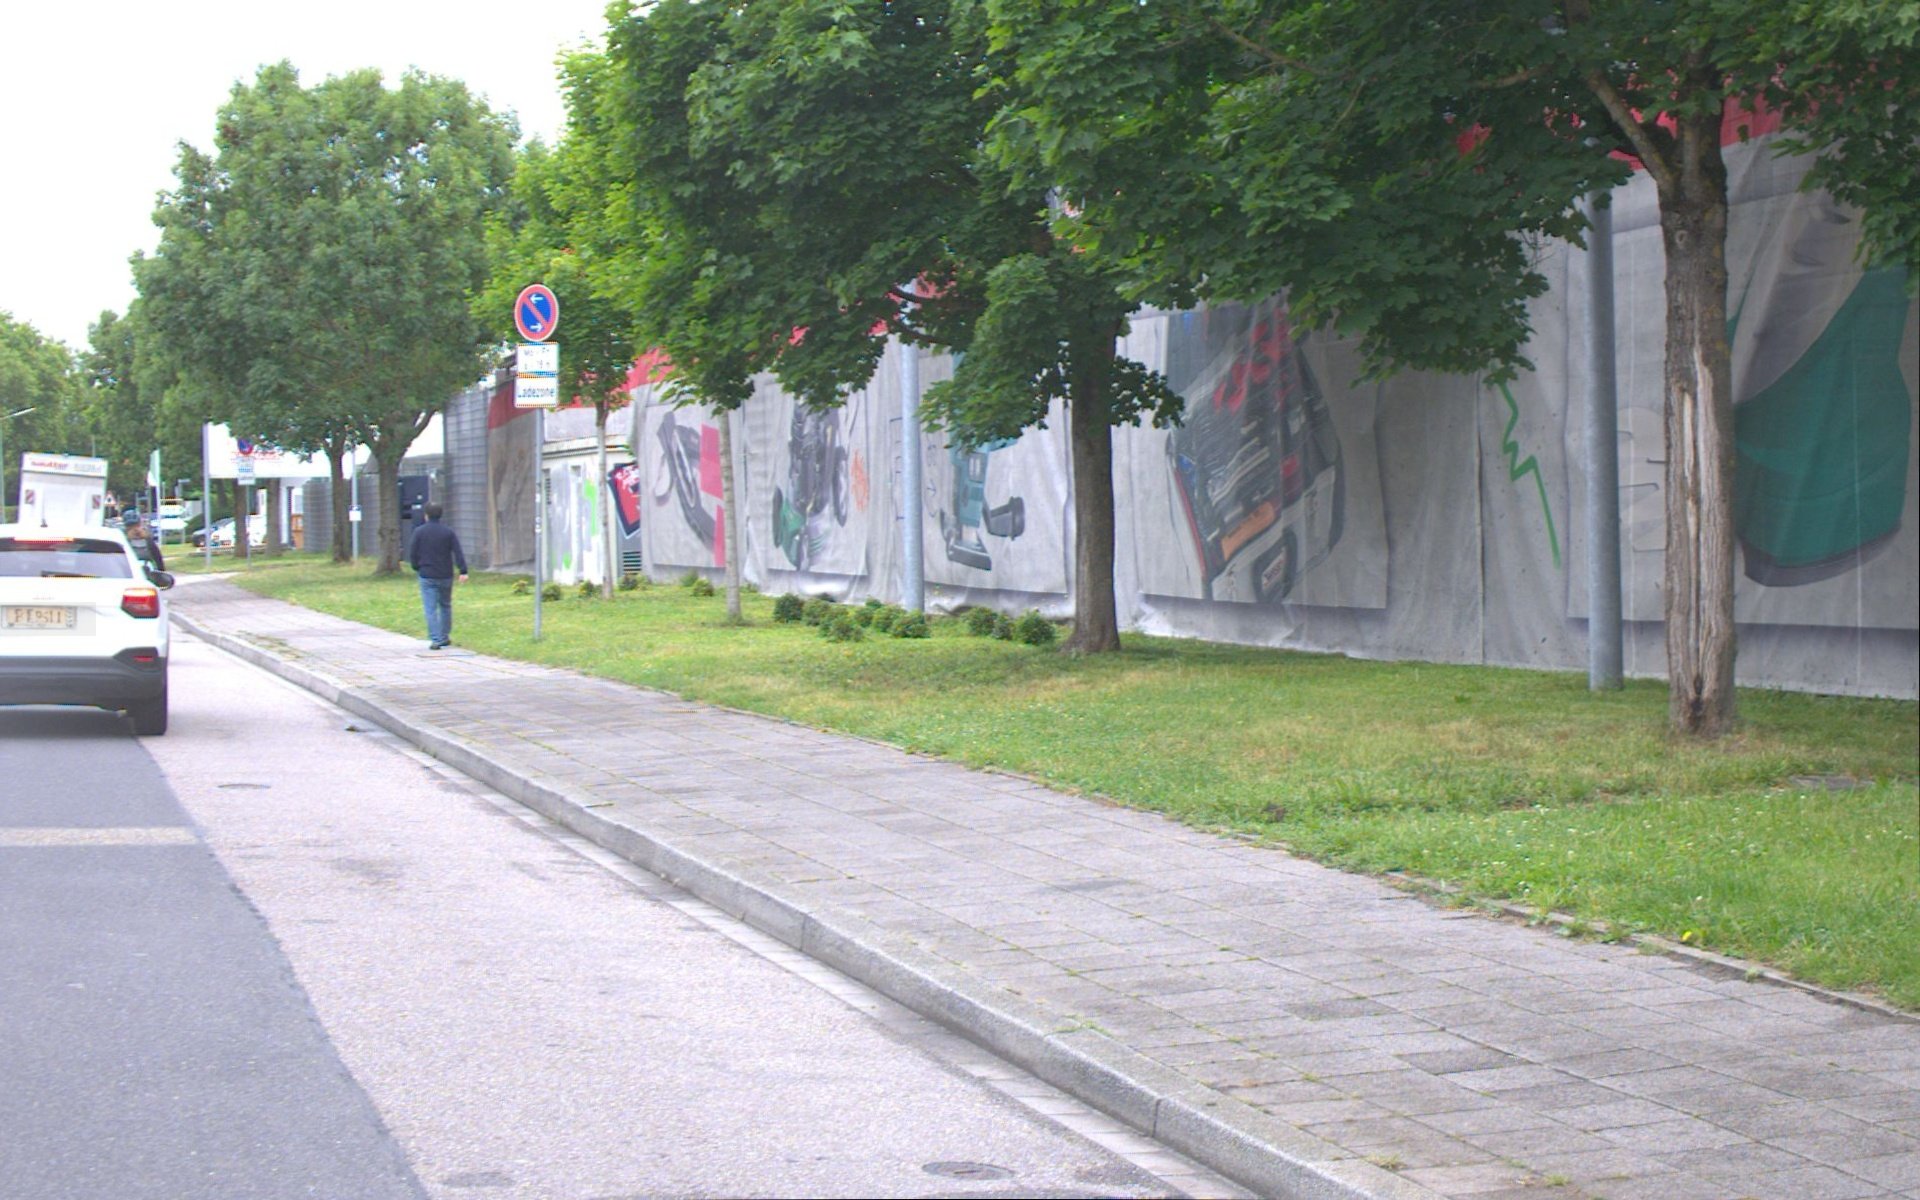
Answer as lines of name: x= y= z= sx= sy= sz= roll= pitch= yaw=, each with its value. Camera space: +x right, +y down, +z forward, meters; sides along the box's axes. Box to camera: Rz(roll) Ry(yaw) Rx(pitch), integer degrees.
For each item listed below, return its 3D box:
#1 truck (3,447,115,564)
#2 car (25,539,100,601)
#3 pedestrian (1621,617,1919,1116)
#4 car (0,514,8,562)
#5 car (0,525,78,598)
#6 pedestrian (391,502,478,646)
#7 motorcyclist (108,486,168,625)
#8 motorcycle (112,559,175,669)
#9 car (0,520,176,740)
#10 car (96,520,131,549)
truck: x=-29.065 y=-2.954 z=110.624 sx=3.134 sy=3.572 sz=10.053 roll=0 pitch=1 yaw=-17
car: x=-26.620 y=-0.889 z=101.883 sx=1.993 sy=1.799 sz=4.001 roll=0 pitch=1 yaw=-17
pedestrian: x=2.867 y=0.905 z=12.056 sx=0.823 sy=1.643 sz=0.698 roll=-2 pitch=2 yaw=-16
car: x=-34.392 y=-2.157 z=120.358 sx=1.869 sy=1.656 sz=4.001 roll=-2 pitch=2 yaw=-17
car: x=-18.822 y=-0.782 z=69.143 sx=1.937 sy=1.362 sz=4.001 roll=-2 pitch=2 yaw=-16
pedestrian: x=-6.030 y=-0.304 z=39.405 sx=0.919 sy=1.629 sz=0.853 roll=0 pitch=1 yaw=-13
motorcyclist: x=-9.348 y=-0.513 z=39.098 sx=0.624 sy=1.548 sz=0.604 roll=-2 pitch=2 yaw=-13
motorcycle: x=-9.303 y=0.146 z=39.167 sx=0.641 sy=1.174 sz=2.114 roll=-2 pitch=2 yaw=-13
car: x=-6.969 y=0.164 z=25.970 sx=1.886 sy=1.526 sz=4.255 roll=0 pitch=1 yaw=-15
car: x=-50.036 y=-3.888 z=203.177 sx=1.886 sy=1.677 sz=4.255 roll=0 pitch=1 yaw=-15
